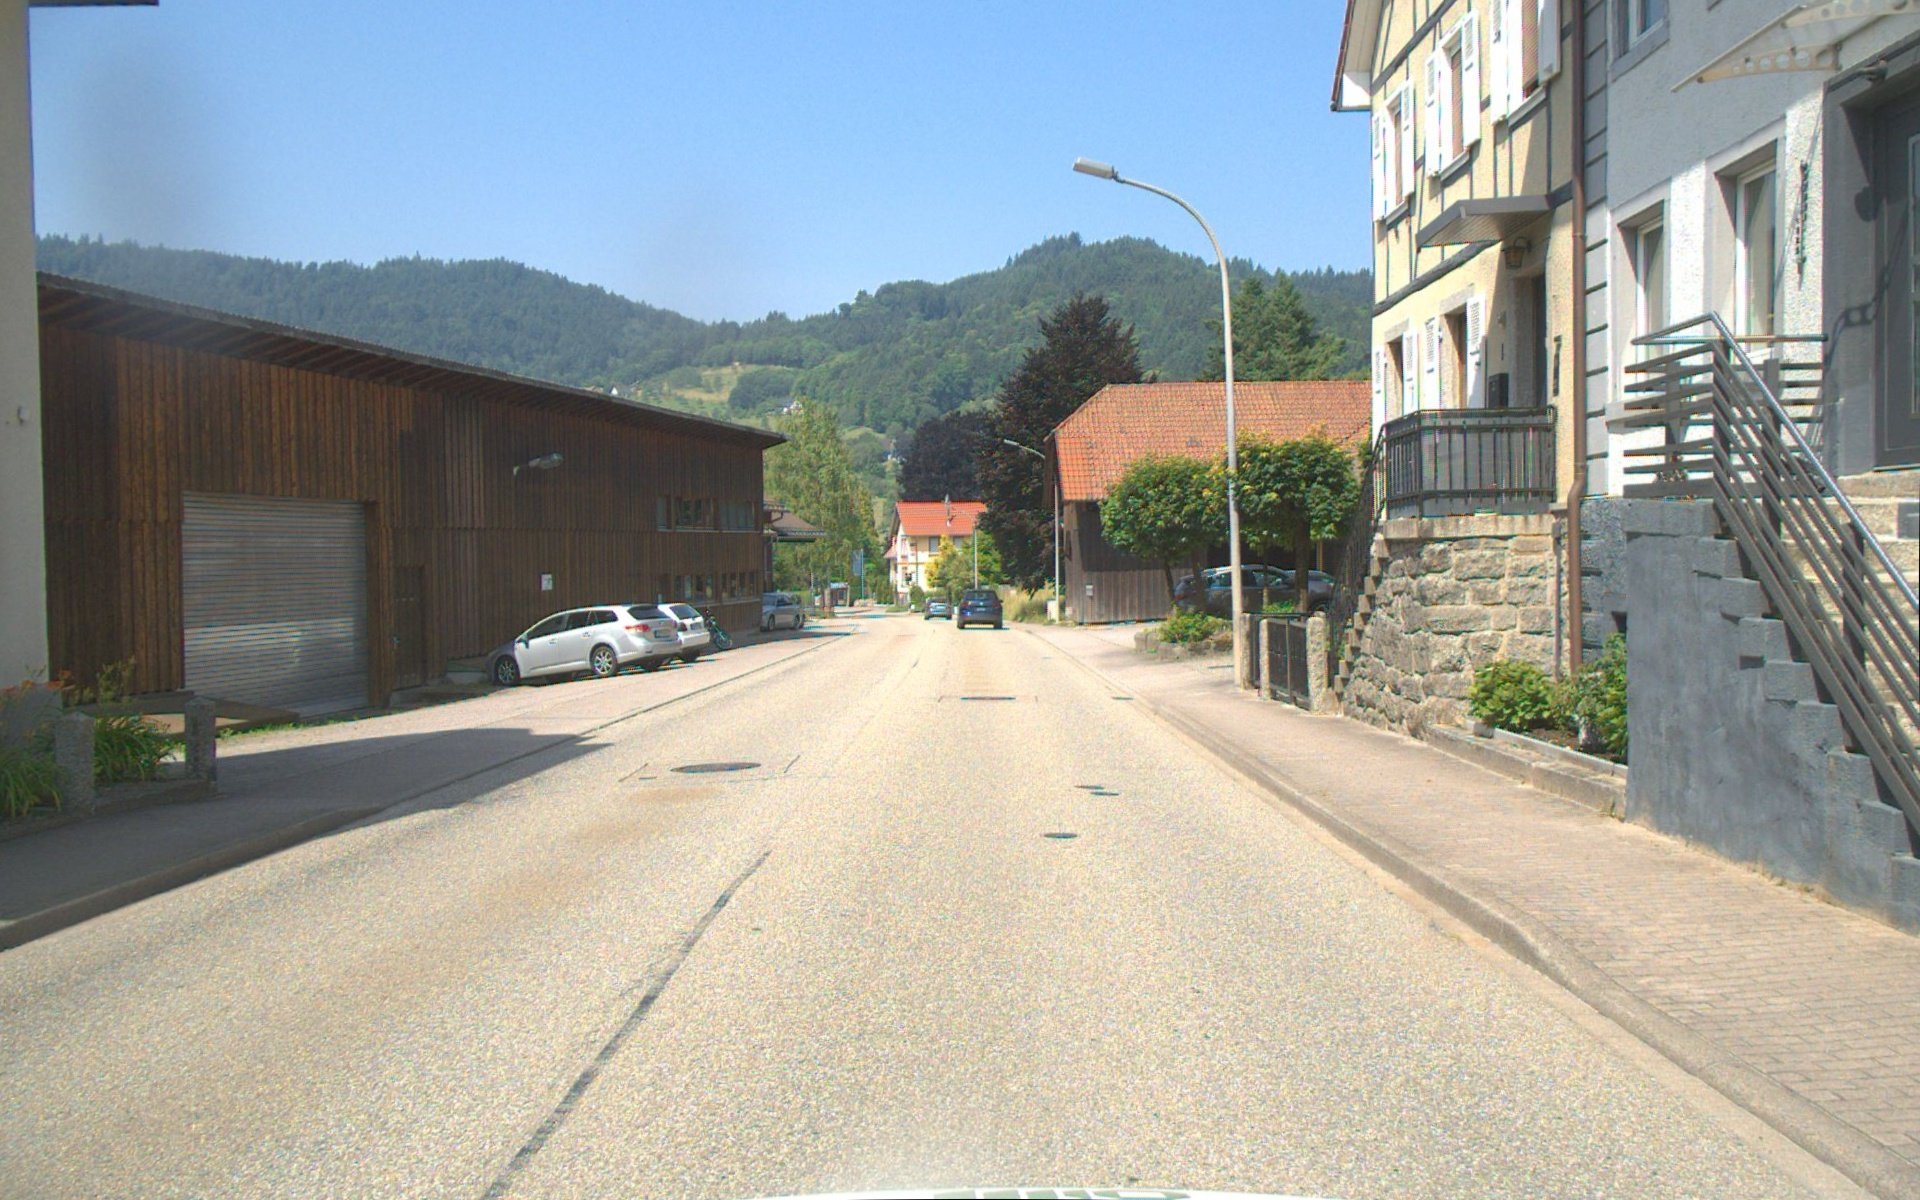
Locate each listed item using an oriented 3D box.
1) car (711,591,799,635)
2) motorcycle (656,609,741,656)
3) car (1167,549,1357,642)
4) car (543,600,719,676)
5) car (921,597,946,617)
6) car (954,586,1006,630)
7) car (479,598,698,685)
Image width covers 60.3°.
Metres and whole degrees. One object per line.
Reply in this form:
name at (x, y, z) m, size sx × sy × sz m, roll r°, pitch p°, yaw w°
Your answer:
car at (-7.695, 0.453, 62.629) m, size 1.692 × 1.479 × 4.809 m, roll -1°, pitch 1°, yaw 14°
motorcycle at (-7.815, 0.971, 49.467) m, size 2.357 × 1.286 × 0.744 m, roll -2°, pitch 0°, yaw 10°
car at (7.109, -0.107, 39.257) m, size 4.134 × 1.716 × 1.777 m, roll -6°, pitch 0°, yaw 3°
car at (-7.722, 0.881, 38.946) m, size 3.582 × 1.409 × 1.712 m, roll -6°, pitch -1°, yaw 15°
car at (-1.770, 0.450, 110.509) m, size 1.448 × 1.230 × 2.382 m, roll -2°, pitch 0°, yaw -5°
car at (0.793, 0.324, 68.699) m, size 1.881 × 1.728 × 3.786 m, roll -2°, pitch 0°, yaw -3°
car at (-8.120, 0.908, 36.099) m, size 4.343 × 1.500 × 1.923 m, roll -5°, pitch 0°, yaw 26°
